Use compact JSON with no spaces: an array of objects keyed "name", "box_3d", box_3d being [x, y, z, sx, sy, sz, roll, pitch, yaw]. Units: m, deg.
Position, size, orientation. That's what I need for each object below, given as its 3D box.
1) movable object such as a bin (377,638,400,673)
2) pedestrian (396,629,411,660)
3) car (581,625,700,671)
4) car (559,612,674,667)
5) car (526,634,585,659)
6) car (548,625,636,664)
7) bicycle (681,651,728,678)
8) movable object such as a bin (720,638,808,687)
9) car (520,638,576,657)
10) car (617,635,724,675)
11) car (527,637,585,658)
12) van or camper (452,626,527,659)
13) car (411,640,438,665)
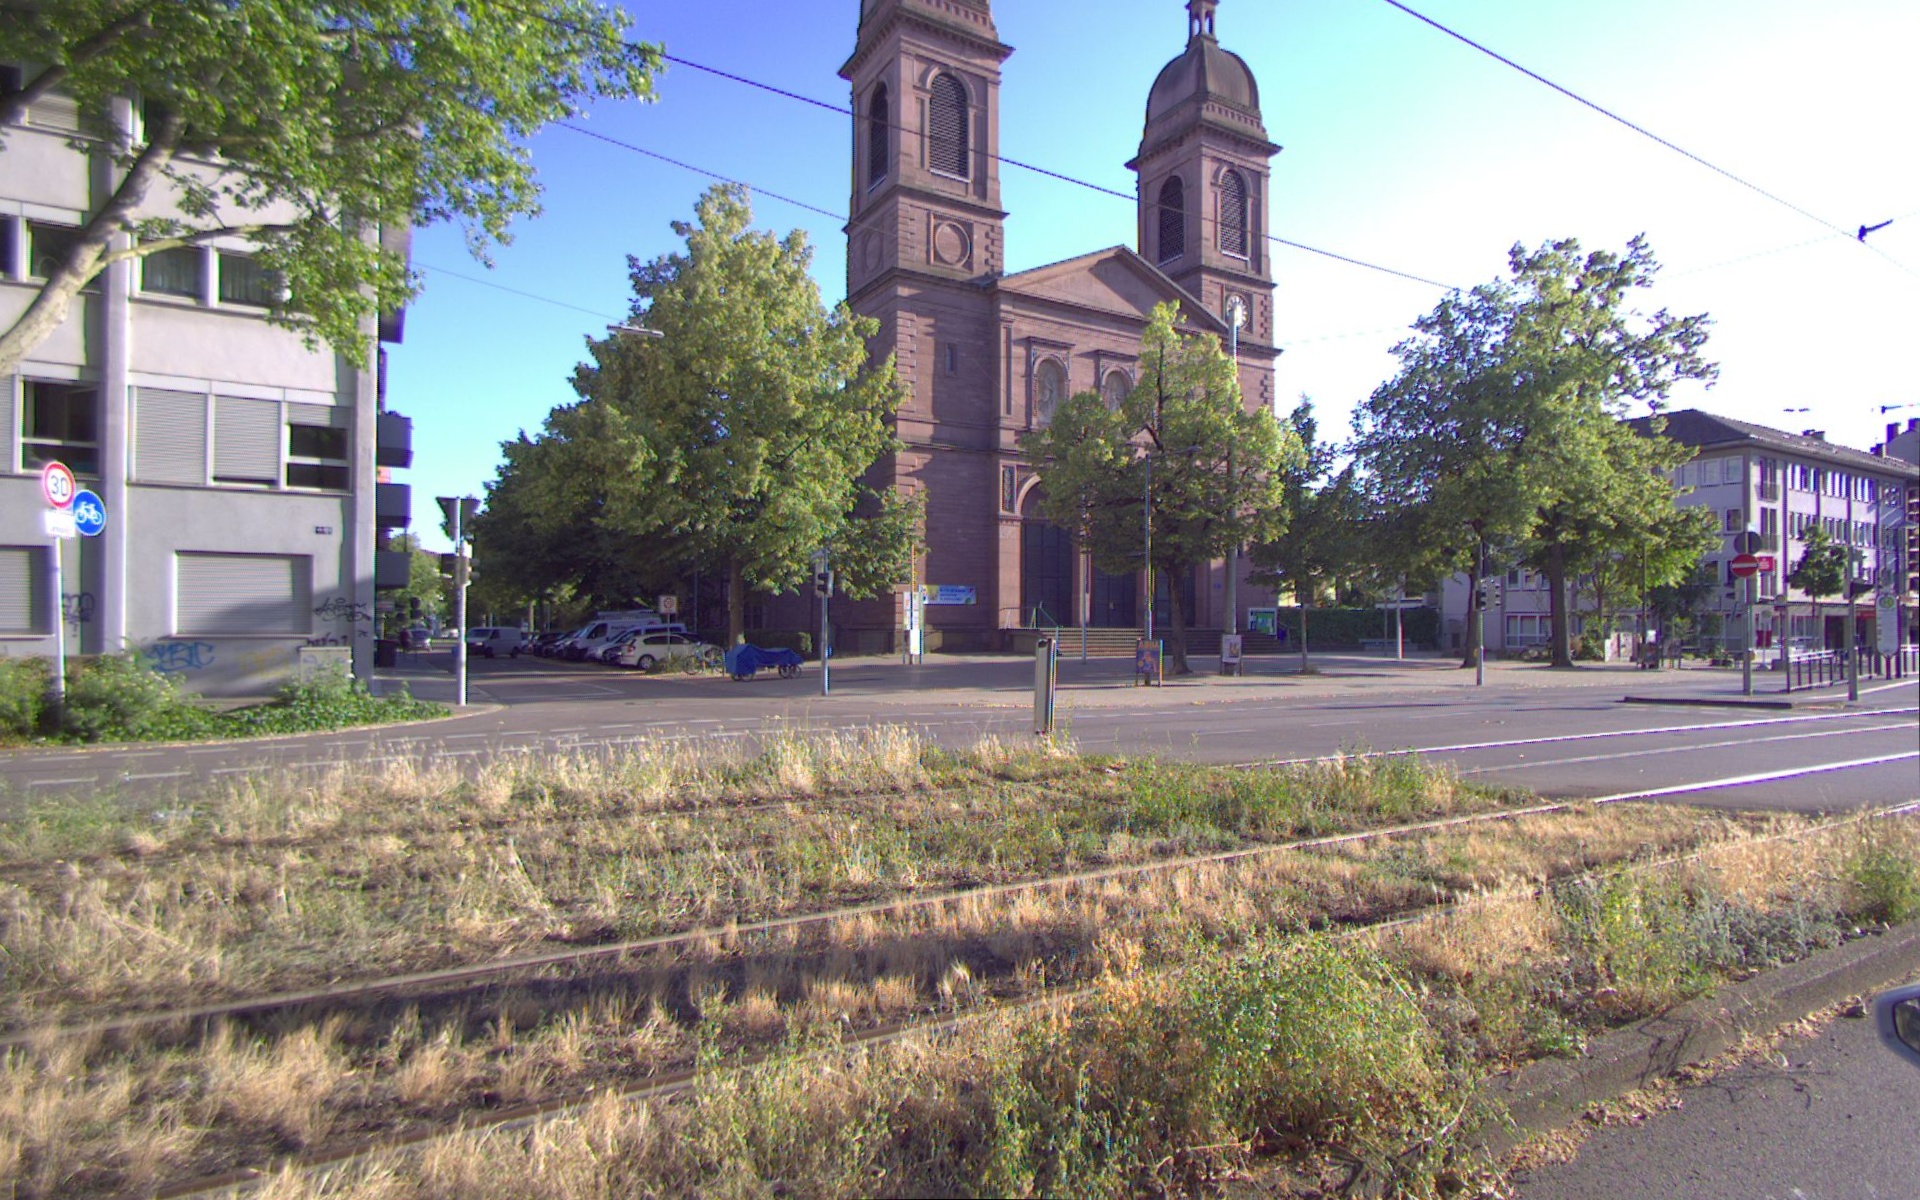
[{"name":"movable object such as a bin","box_3d":[-22.144,2.151,38.887,0.737,1.323,0.865,1,-2,-32]},{"name":"pedestrian","box_3d":[-32.679,2.615,59.024,0.682,1.774,0.636,1,-2,-36]},{"name":"car","box_3d":[-15.362,2.279,48.396,5.121,2.040,1.981,1,0,-34]},{"name":"car","box_3d":[-18.134,2.075,53.190,5.381,2.710,1.980,1,0,-36]},{"name":"car","box_3d":[-28.354,3.219,70.376,3.667,1.692,1.662,1,-2,-30]},{"name":"car","box_3d":[-20.262,2.426,55.348,4.174,2.040,1.981,1,0,-34]},{"name":"bicycle","box_3d":[-8.903,2.237,35.041,1.517,0.904,0.465,1,0,-27]},{"name":"movable object such as a bin","box_3d":[-5.996,1.894,30.790,2.416,1.228,1.102,-3,2,-30]},{"name":"car","box_3d":[-30.478,3.501,74.267,3.667,1.303,1.662,1,-2,-30]},{"name":"car","box_3d":[-12.067,2.266,41.901,3.953,1.479,1.984,2,0,-30]},{"name":"car","box_3d":[-29.105,3.396,72.398,3.667,1.464,1.662,1,-2,-30]},{"name":"van or camper","box_3d":[-29.837,2.659,63.838,1.960,2.040,5.138,0,-2,5]},{"name":"car","box_3d":[-45.598,4.424,85.554,1.976,2.040,3.970,1,-2,-29]}]
